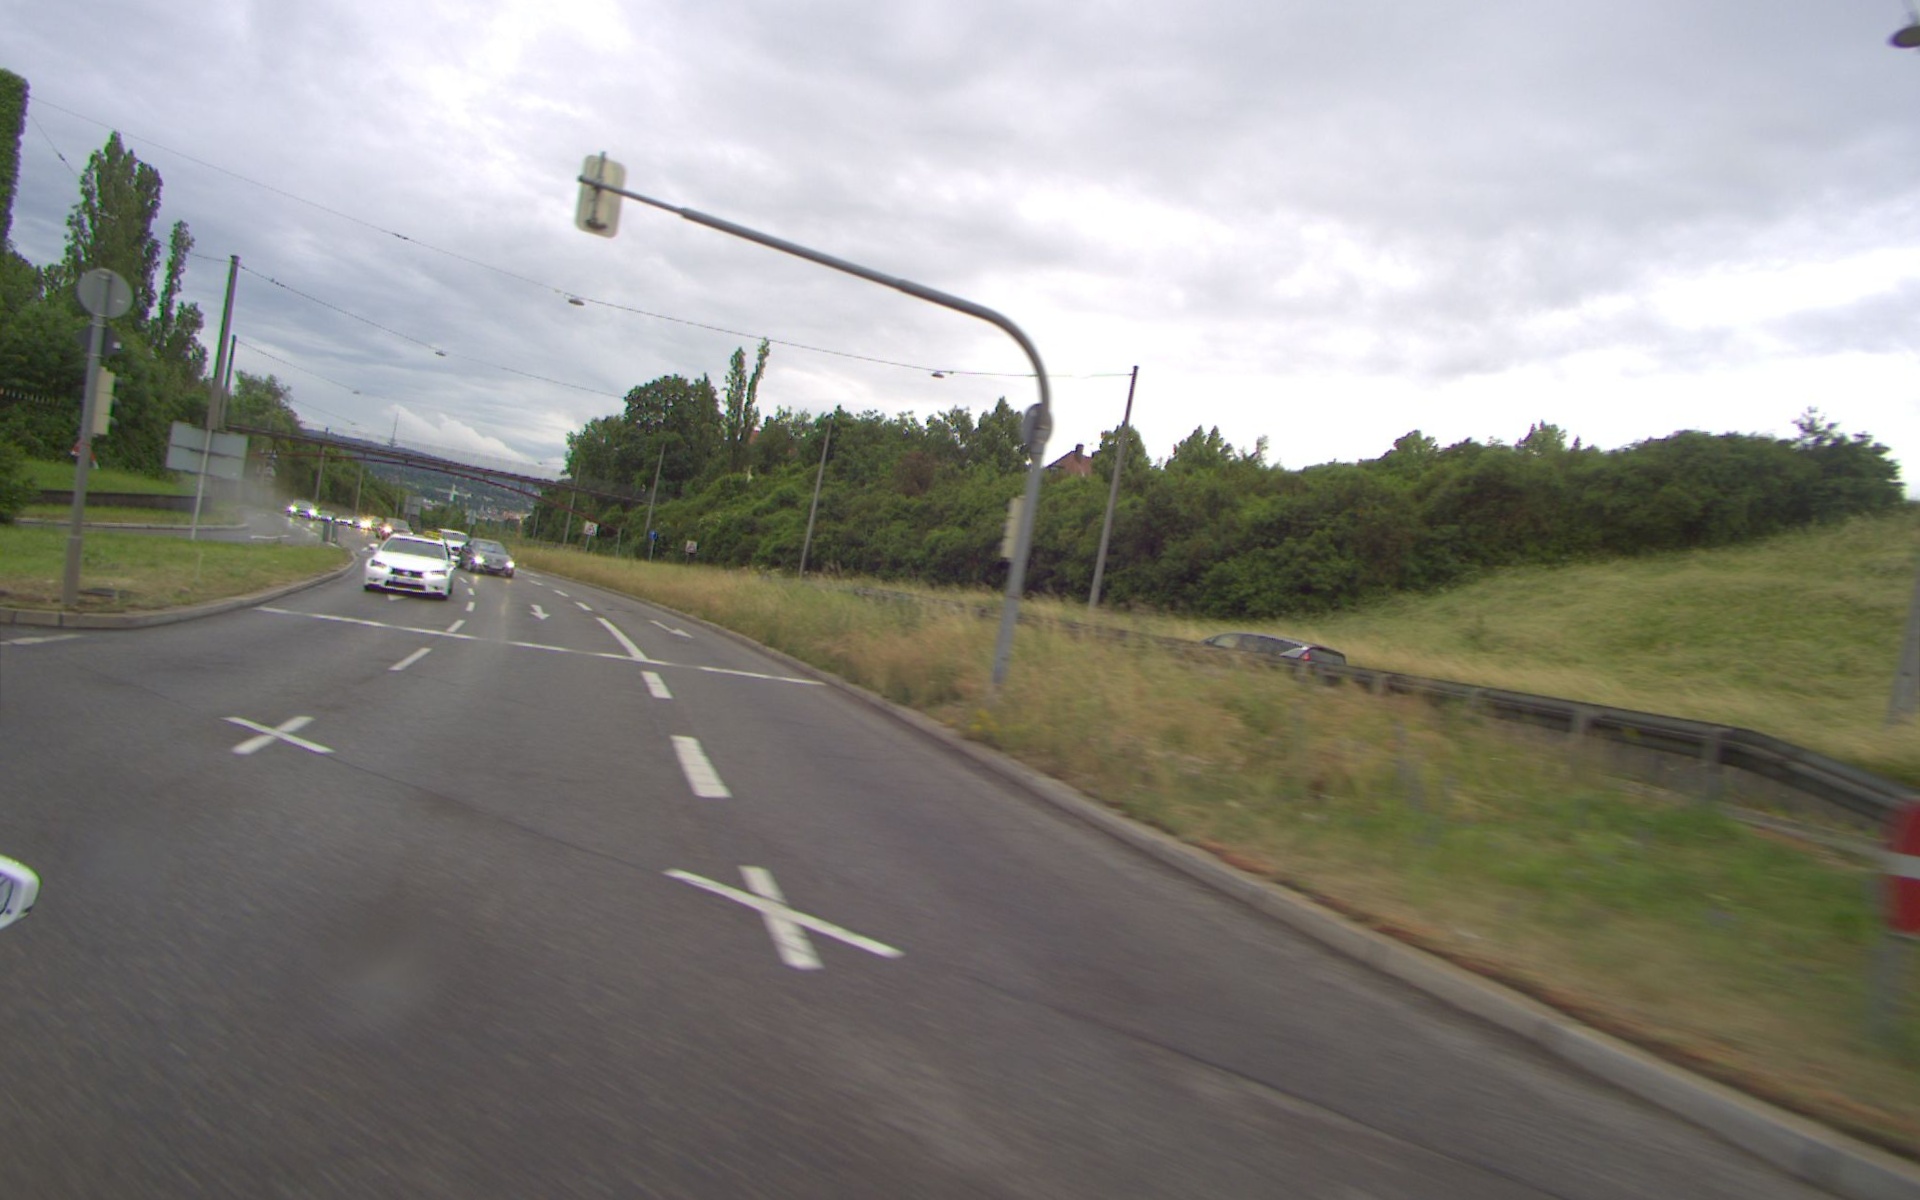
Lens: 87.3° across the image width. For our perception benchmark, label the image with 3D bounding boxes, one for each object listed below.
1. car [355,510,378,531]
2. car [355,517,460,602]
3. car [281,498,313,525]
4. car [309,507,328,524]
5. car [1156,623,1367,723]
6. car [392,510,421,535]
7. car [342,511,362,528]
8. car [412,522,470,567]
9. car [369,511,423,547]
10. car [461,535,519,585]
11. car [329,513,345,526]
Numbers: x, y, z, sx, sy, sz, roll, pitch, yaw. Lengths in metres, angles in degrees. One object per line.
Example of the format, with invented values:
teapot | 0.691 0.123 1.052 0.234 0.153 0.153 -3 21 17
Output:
car | -59.968 -8.050 101.655 1.566 1.615 3.495 10 1 -35
car | -13.980 -1.087 25.652 1.979 1.637 3.970 10 0 -27
car | -52.809 -7.064 80.114 1.869 1.673 4.084 10 0 -34
car | -76.262 -10.039 119.587 1.566 1.615 3.495 10 1 -35
car | 6.782 1.614 23.184 1.714 1.667 4.591 10 -3 -29
car | -57.809 -8.123 104.991 2.064 2.108 4.329 10 1 -34
car | -71.942 -9.525 119.003 1.566 1.615 3.495 10 1 -35
car | -26.001 -2.789 50.312 1.983 1.637 4.330 10 0 -34
car | -36.526 -4.609 65.107 1.989 1.637 4.317 10 1 -42
car | -20.327 -1.766 43.416 1.978 1.637 4.340 10 0 -27
car | -83.843 -10.827 135.438 1.404 1.386 3.121 10 0 -29
